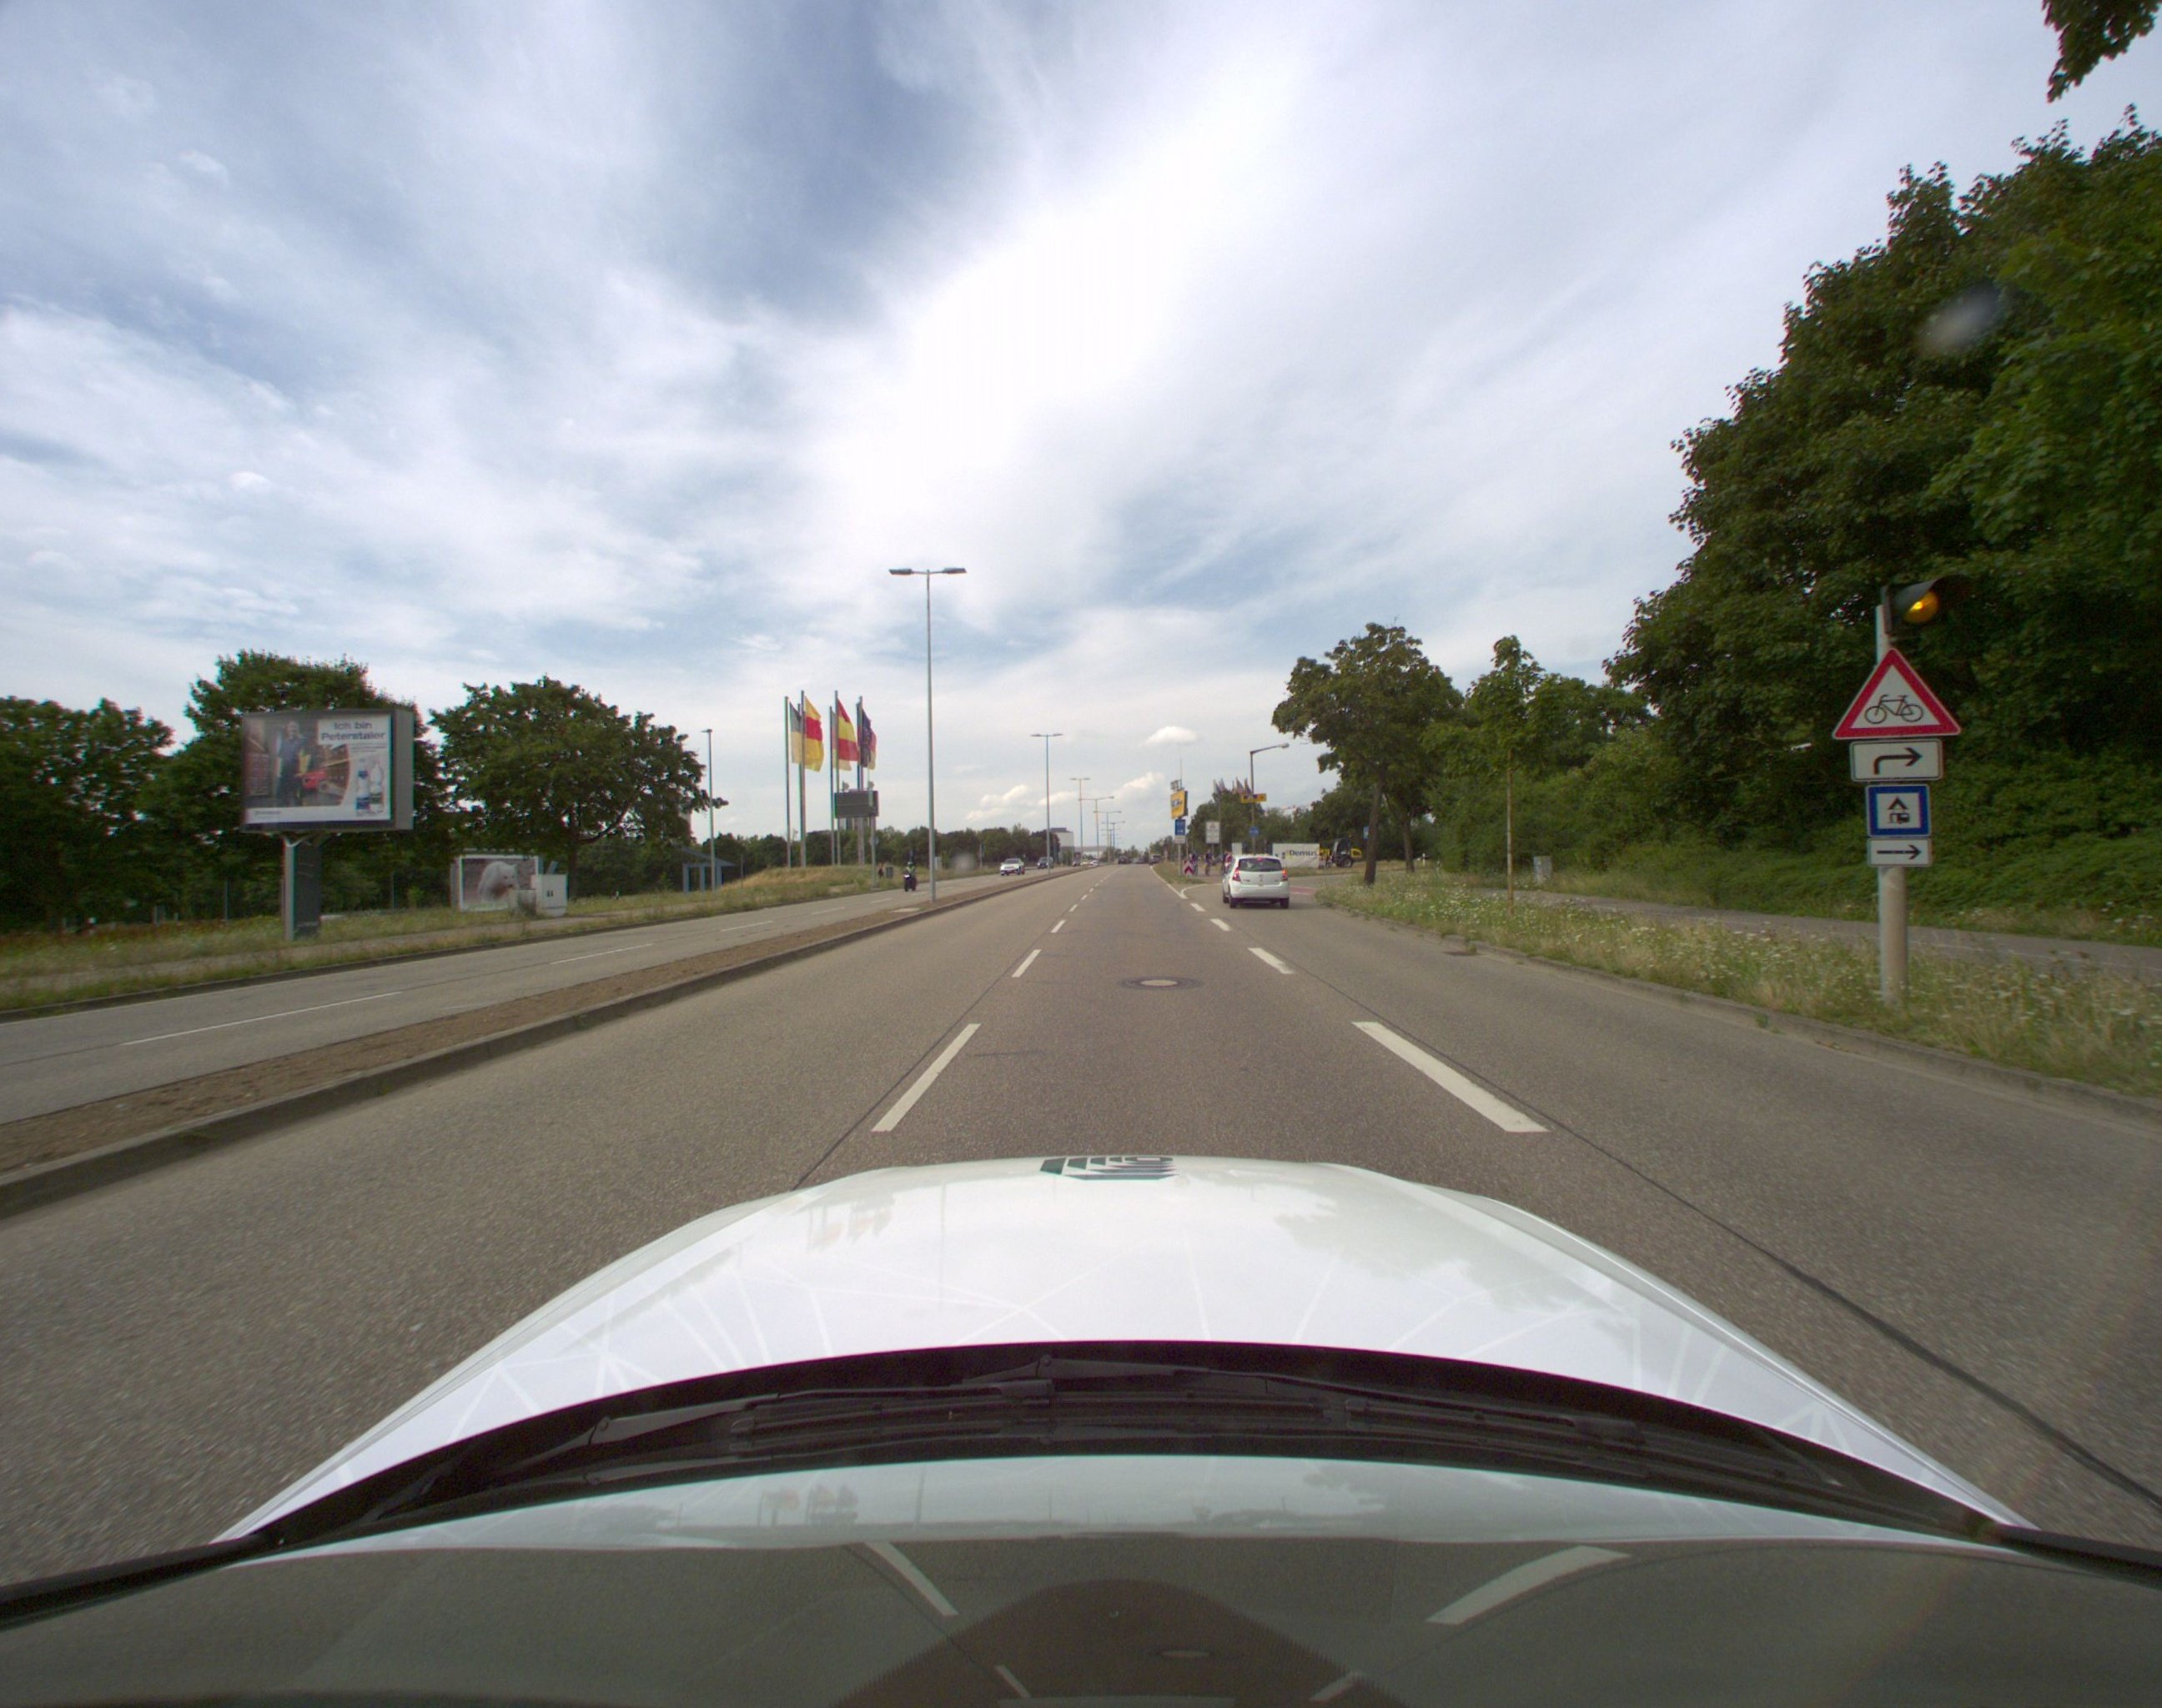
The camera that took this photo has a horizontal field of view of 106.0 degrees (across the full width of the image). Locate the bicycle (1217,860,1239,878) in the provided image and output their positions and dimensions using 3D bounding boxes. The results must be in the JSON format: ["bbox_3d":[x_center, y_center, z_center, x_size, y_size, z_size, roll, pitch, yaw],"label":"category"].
[{"bbox_3d":[8.893,0.912,49.339,0.620,1.006,1.780,-3,-1,-11],"label":"bicycle"}]

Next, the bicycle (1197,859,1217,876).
[{"bbox_3d":[8.080,0.844,52.425,0.595,1.037,2.187,1,-1,-10],"label":"bicycle"}]

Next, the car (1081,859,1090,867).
[{"bbox_3d":[1.054,2.014,184.644,1.542,1.578,3.694,-3,-1,4],"label":"car"}]

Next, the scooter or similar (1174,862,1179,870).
[{"bbox_3d":[15.955,1.987,135.960,0.587,1.224,1.201,0,-1,-4],"label":"scooter or similar"}]

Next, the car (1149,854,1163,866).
[{"bbox_3d":[11.149,0.964,120.985,1.725,1.653,4.113,-1,-2,-1],"label":"car"}]

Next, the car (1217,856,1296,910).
[{"bbox_3d":[5.233,0.809,24.732,1.838,1.502,4.005,0,0,5],"label":"car"}]

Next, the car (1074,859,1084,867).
[{"bbox_3d":[-0.383,1.799,159.754,1.755,1.441,4.181,-3,-1,4],"label":"car"}]

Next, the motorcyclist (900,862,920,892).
[{"bbox_3d":[-9.276,1.231,44.125,0.767,1.588,0.897,-3,-1,2],"label":"motorcyclist"}]

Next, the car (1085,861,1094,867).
[{"bbox_3d":[2.068,2.475,200.075,1.640,1.515,4.024,-4,-1,7],"label":"car"}]

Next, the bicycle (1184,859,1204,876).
[{"bbox_3d":[7.192,0.848,51.745,0.620,1.006,2.095,1,0,-10],"label":"bicycle"}]

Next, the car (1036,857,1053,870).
[{"bbox_3d":[-5.649,1.506,127.329,1.838,1.894,5.512,-5,-1,5],"label":"car"}]

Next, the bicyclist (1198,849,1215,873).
[{"bbox_3d":[8.073,0.437,52.347,0.741,1.518,0.954,0,-1,-12],"label":"bicyclist"}]

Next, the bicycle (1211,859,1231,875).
[{"bbox_3d":[9.067,0.849,52.761,0.620,1.006,1.781,-3,-1,-10],"label":"bicycle"}]

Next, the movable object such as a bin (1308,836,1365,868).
[{"bbox_3d":[22.389,-0.172,71.488,4.476,2.689,2.106,-1,-1,8],"label":"movable object such as a bin"}]

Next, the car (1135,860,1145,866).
[{"bbox_3d":[14.342,2.168,197.064,1.728,1.526,4.107,0,-1,-5],"label":"car"}]

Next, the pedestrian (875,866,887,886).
[{"bbox_3d":[-17.758,1.930,72.316,0.862,1.693,0.679,-3,-1,2],"label":"pedestrian"}]

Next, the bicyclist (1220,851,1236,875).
[{"bbox_3d":[8.886,0.540,49.283,0.740,1.474,0.803,0,-1,-10],"label":"bicyclist"}]

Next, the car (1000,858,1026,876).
[{"bbox_3d":[-6.604,1.244,79.750,1.839,1.601,4.565,-2,0,3],"label":"car"}]

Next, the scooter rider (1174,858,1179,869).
[{"bbox_3d":[15.949,1.595,135.977,0.586,1.690,0.742,0,-1,-5],"label":"scooter rider"}]

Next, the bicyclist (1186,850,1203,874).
[{"bbox_3d":[7.209,0.508,51.716,0.741,1.518,0.954,0,-1,-11],"label":"bicyclist"}]

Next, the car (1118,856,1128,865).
[{"bbox_3d":[8.420,1.316,162.246,1.722,1.653,4.120,-1,-2,5],"label":"car"}]

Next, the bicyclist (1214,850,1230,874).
[{"bbox_3d":[9.104,0.529,52.709,0.741,1.487,0.955,0,-1,-11],"label":"bicyclist"}]

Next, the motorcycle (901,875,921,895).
[{"bbox_3d":[-9.218,1.678,44.263,0.520,0.967,2.221,-2,0,2],"label":"motorcycle"}]
